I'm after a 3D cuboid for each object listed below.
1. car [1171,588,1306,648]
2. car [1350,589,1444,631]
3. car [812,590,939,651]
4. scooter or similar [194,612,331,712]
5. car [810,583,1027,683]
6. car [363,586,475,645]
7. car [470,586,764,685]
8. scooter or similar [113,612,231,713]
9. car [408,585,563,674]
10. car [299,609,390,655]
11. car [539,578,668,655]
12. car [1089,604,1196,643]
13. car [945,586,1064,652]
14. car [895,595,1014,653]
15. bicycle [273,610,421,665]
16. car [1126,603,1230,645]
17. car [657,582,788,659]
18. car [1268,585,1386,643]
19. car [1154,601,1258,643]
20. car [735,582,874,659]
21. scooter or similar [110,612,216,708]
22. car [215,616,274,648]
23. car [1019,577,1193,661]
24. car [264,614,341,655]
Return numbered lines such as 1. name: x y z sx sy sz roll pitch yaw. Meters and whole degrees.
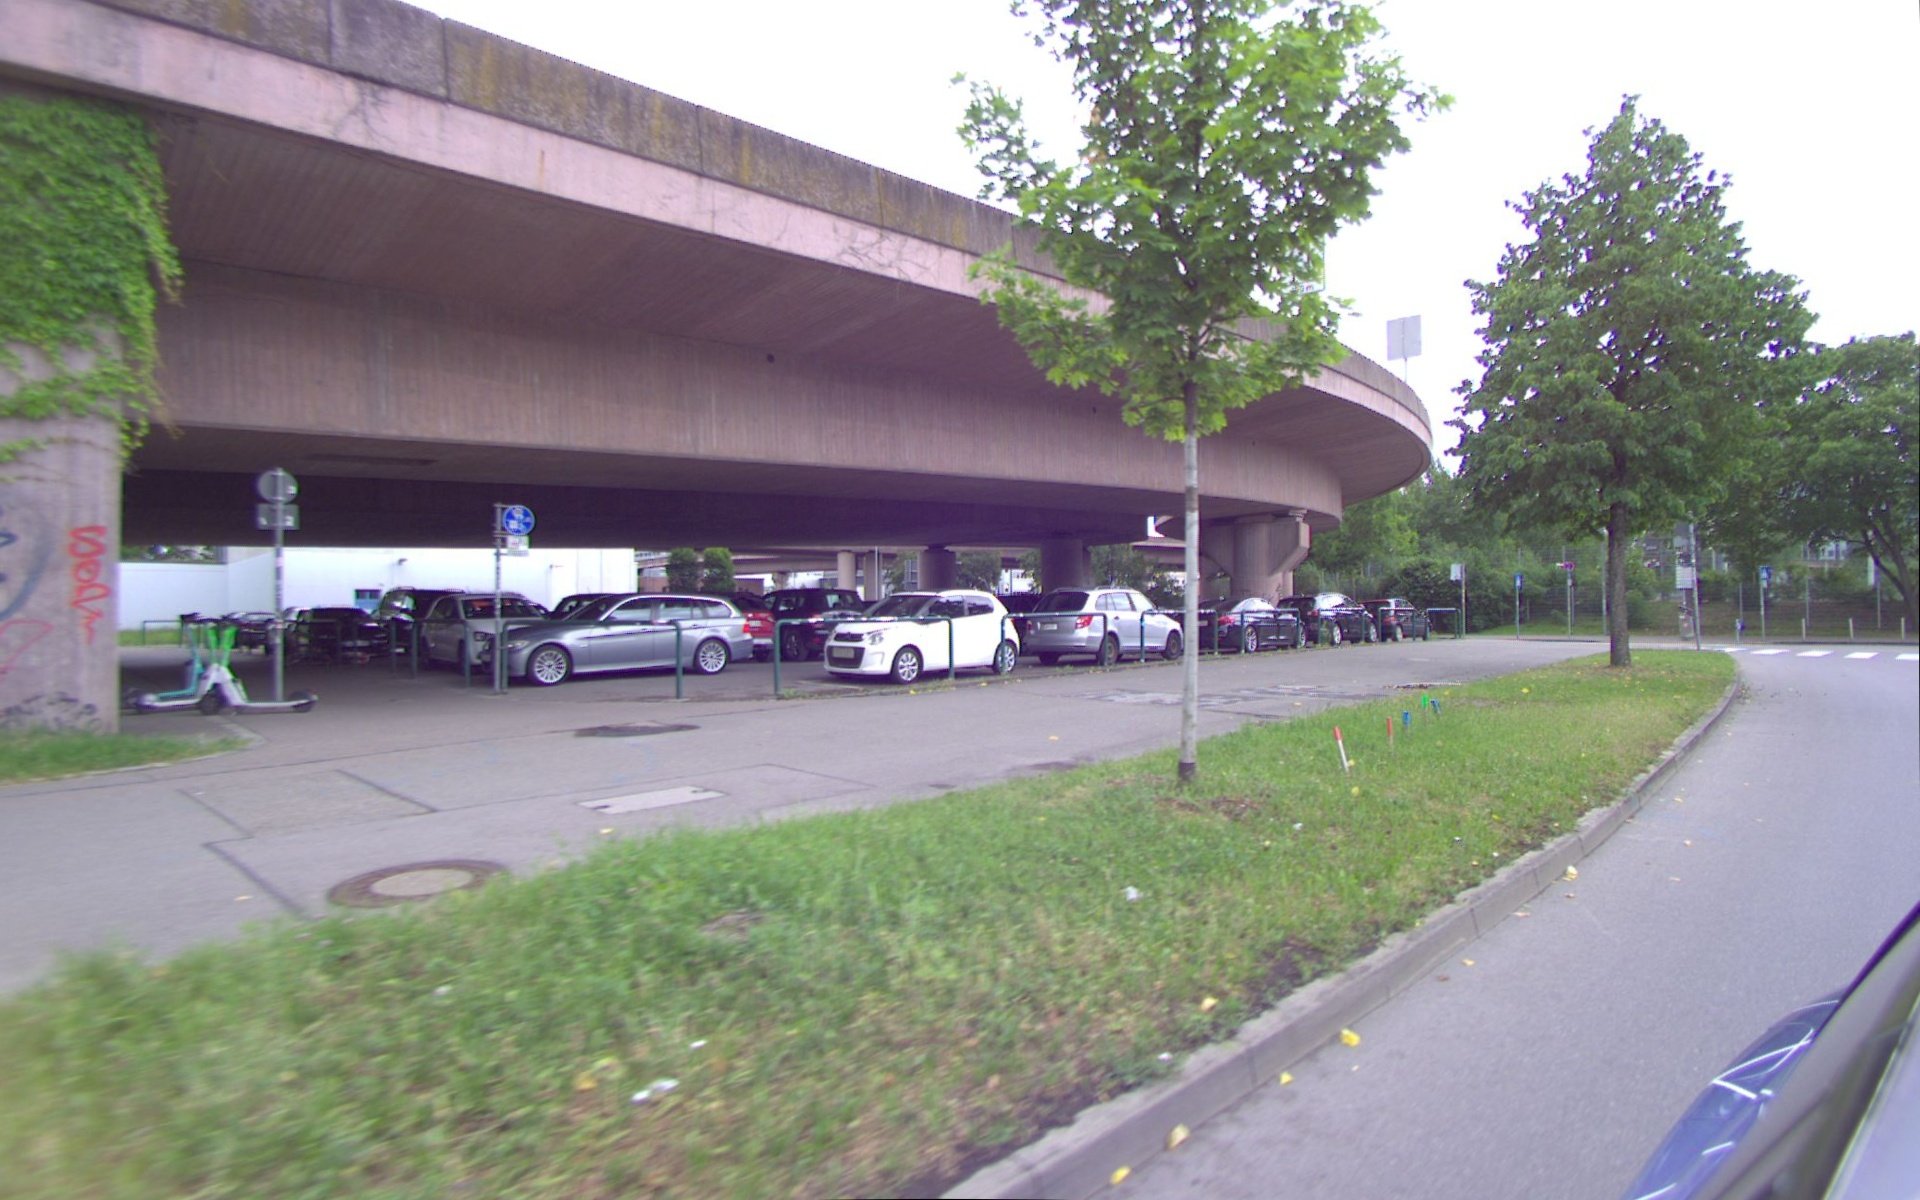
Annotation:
1. car: 6.838 0.441 24.661 1.621 1.333 3.718 -4 -3 42
2. car: 14.017 0.324 32.349 1.621 1.254 3.997 -1 -1 41
3. car: -2.149 0.507 25.217 1.525 1.416 3.314 1 -1 -41
4. scooter or similar: -8.343 0.728 12.129 1.363 1.172 0.329 0 -1 -6
5. car: -0.609 0.462 16.638 1.605 1.463 3.421 -1 0 44
6. car: -15.689 0.442 29.266 3.985 1.598 1.647 -1 -1 43
7. car: -5.636 0.496 17.002 4.399 1.403 1.639 -1 1 -42
8. scooter or similar: -9.728 0.744 12.529 0.344 1.172 1.216 0 -1 11
9. car: -9.062 0.538 19.212 1.601 1.522 3.608 3 -3 -43
10. car: -16.003 0.812 26.259 1.356 1.127 3.312 3 -2 -43
11. car: -7.257 0.342 20.459 1.385 1.428 3.316 3 -2 -39
12. car: 5.867 0.737 32.784 1.328 1.214 3.314 0 -1 -41
13. car: 1.182 0.522 28.124 1.411 1.709 3.314 1 -1 -41
14. car: -0.195 0.627 26.708 1.328 1.427 3.314 0 -1 -41
15. bicycle: -13.831 0.808 22.902 2.720 1.081 1.138 -1 1 -42
16. car: 7.443 0.786 34.726 1.462 1.321 3.308 -1 1 -42
17. car: -5.210 0.443 22.006 1.433 1.531 3.316 3 -2 -39
18. car: 10.315 0.384 28.297 1.620 1.392 4.113 -7 -5 41
19. car: 8.846 0.756 36.522 1.401 1.401 3.466 -1 0 -43
20. car: -3.612 0.463 23.224 1.639 1.618 3.314 1 -1 -41
21. scooter or similar: -10.614 0.772 13.511 0.377 1.220 1.078 -1 -1 20
22. car: -27.137 1.182 38.346 1.356 1.127 3.312 3 -2 -43
23. car: 3.035 0.376 20.544 1.609 1.550 3.858 -3 -2 42
24. car: -19.702 1.008 30.301 1.356 1.127 3.312 3 -2 -43
